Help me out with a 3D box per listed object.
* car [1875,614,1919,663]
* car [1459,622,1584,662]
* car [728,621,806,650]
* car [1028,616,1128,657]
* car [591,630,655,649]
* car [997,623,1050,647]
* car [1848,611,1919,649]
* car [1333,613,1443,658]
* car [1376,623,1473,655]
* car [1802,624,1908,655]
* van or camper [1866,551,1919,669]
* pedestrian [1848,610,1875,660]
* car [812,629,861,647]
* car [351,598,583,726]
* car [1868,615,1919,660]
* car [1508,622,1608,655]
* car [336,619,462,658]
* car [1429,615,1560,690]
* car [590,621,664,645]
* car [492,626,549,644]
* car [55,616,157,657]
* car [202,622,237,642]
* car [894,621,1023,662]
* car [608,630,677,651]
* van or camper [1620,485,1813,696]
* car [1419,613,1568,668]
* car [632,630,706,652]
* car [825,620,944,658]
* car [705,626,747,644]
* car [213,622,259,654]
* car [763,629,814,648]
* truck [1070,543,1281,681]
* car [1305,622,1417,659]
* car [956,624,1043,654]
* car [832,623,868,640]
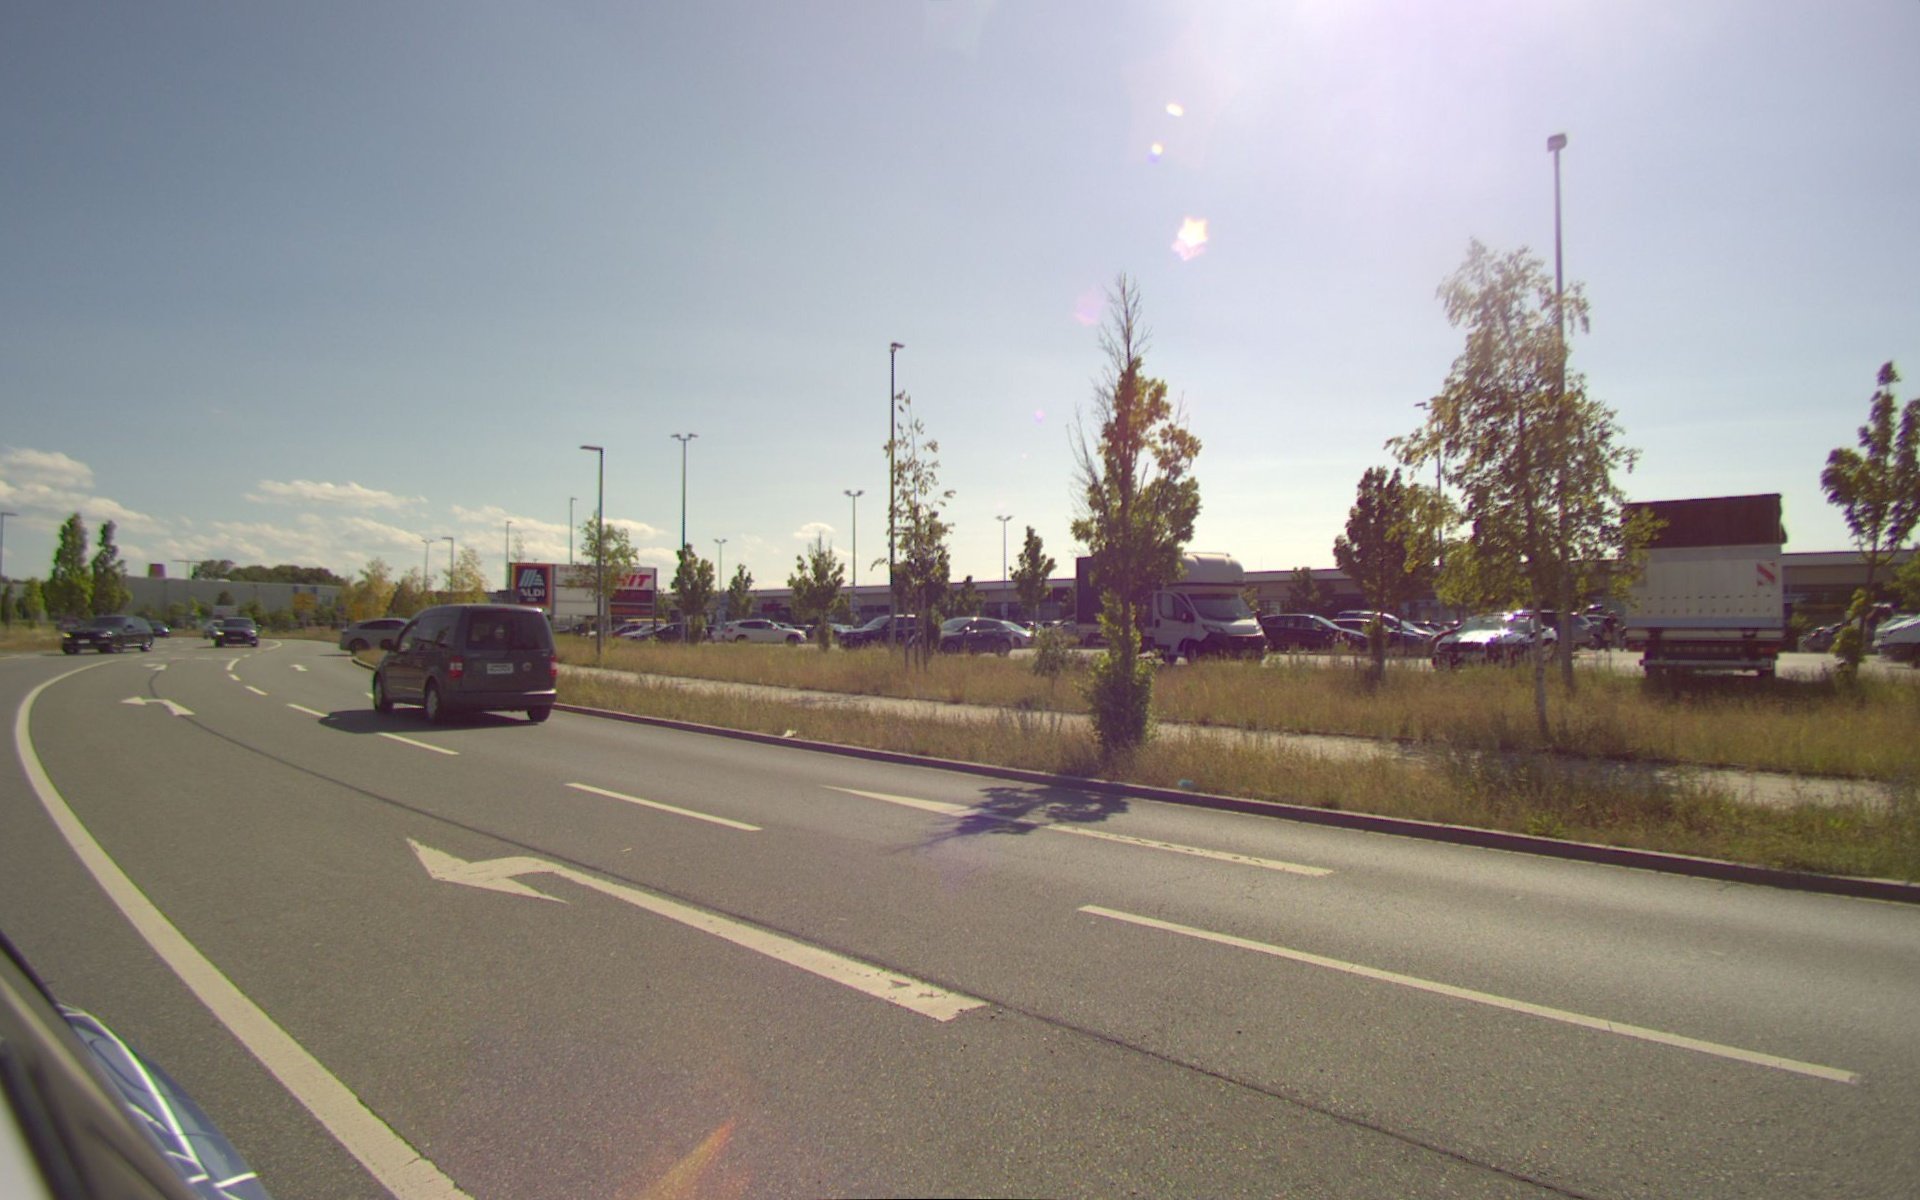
[{"bbox_3d":[33.647,1.308,33.981,4.072,1.627,1.647,-1,-2,34],"label":"car"},{"bbox_3d":[22.990,1.698,41.497,4.371,1.574,1.816,-1,-2,35],"label":"car"},{"bbox_3d":[-10.660,1.955,56.009,4.158,1.559,1.921,1,-2,-9],"label":"car"},{"bbox_3d":[5.540,1.705,47.574,4.374,1.837,1.815,-1,-2,37],"label":"car"},{"bbox_3d":[-24.935,2.899,74.889,4.088,1.358,1.941,2,-3,-34],"label":"car"},{"bbox_3d":[5.511,3.039,87.561,4.345,1.974,1.696,-1,-3,36],"label":"car"},{"bbox_3d":[40.610,1.282,43.049,4.073,1.599,1.647,-1,-2,35],"label":"car"},{"bbox_3d":[19.797,1.626,46.877,4.374,2.009,1.815,-1,-2,37],"label":"car"},{"bbox_3d":[24.288,2.006,52.977,4.374,1.604,1.815,-1,-2,37],"label":"car"},{"bbox_3d":[47.985,2.085,54.371,4.073,1.608,1.647,-1,-2,35],"label":"car"},{"bbox_3d":[29.734,0.283,27.552,7.220,3.296,2.408,-1,-2,36],"label":"van or camper"},{"bbox_3d":[33.613,1.313,37.755,0.659,1.855,0.474,-1,-2,34],"label":"pedestrian"},{"bbox_3d":[-10.978,3.334,89.646,4.345,1.544,1.696,-1,-3,36],"label":"car"},{"bbox_3d":[-8.151,0.972,16.543,4.427,1.808,1.929,-2,-4,44],"label":"car"},{"bbox_3d":[35.471,1.359,36.299,4.072,1.627,1.647,-1,-2,34],"label":"car"},{"bbox_3d":[30.841,1.986,52.245,4.371,1.625,1.816,-1,-2,35],"label":"car"},{"bbox_3d":[-26.028,1.801,47.101,4.700,1.656,2.120,-1,-3,-10],"label":"car"},{"bbox_3d":[12.515,1.181,23.553,1.836,1.564,4.323,-1,-2,40],"label":"car"},{"bbox_3d":[-28.068,2.822,85.354,5.614,1.980,2.002,3,-3,-44],"label":"car"},{"bbox_3d":[-41.965,3.320,96.654,4.533,1.685,2.003,2,-3,-42],"label":"car"},{"bbox_3d":[-37.400,1.626,44.467,1.869,1.692,4.480,0,-3,-19],"label":"car"},{"bbox_3d":[-57.491,2.480,78.535,1.878,1.522,4.006,2,-3,-40],"label":"car"},{"bbox_3d":[-0.016,1.473,36.223,4.367,1.394,1.979,2,-2,-39],"label":"car"},{"bbox_3d":[-21.363,2.717,68.160,4.088,1.358,1.941,2,-3,-34],"label":"car"},{"bbox_3d":[15.493,-0.038,20.474,2.554,3.495,7.612,-1,-2,41],"label":"van or camper"},{"bbox_3d":[18.239,1.366,34.672,4.371,1.787,1.816,-1,-2,35],"label":"car"},{"bbox_3d":[-18.331,2.601,63.748,4.088,1.358,1.941,2,-3,-34],"label":"car"},{"bbox_3d":[-2.989,1.553,40.623,4.517,1.469,1.841,2,-2,-39],"label":"car"},{"bbox_3d":[-23.658,3.569,102.296,4.578,1.754,1.695,-1,-3,39],"label":"car"},{"bbox_3d":[-39.131,2.057,54.759,1.728,1.700,4.393,2,-3,-32],"label":"car"},{"bbox_3d":[-14.428,3.235,85.109,4.345,1.561,1.696,-1,-3,36],"label":"car"},{"bbox_3d":[5.937,0.415,29.439,2.284,3.491,7.518,1,-2,-21],"label":"truck"},{"bbox_3d":[17.837,1.789,45.067,4.371,1.574,1.816,-1,-2,35],"label":"car"},{"bbox_3d":[2.090,2.058,53.678,4.374,1.523,1.815,-1,-2,37],"label":"car"},{"bbox_3d":[-12.113,3.460,111.933,1.711,1.821,4.309,-1,-3,31],"label":"car"}]
